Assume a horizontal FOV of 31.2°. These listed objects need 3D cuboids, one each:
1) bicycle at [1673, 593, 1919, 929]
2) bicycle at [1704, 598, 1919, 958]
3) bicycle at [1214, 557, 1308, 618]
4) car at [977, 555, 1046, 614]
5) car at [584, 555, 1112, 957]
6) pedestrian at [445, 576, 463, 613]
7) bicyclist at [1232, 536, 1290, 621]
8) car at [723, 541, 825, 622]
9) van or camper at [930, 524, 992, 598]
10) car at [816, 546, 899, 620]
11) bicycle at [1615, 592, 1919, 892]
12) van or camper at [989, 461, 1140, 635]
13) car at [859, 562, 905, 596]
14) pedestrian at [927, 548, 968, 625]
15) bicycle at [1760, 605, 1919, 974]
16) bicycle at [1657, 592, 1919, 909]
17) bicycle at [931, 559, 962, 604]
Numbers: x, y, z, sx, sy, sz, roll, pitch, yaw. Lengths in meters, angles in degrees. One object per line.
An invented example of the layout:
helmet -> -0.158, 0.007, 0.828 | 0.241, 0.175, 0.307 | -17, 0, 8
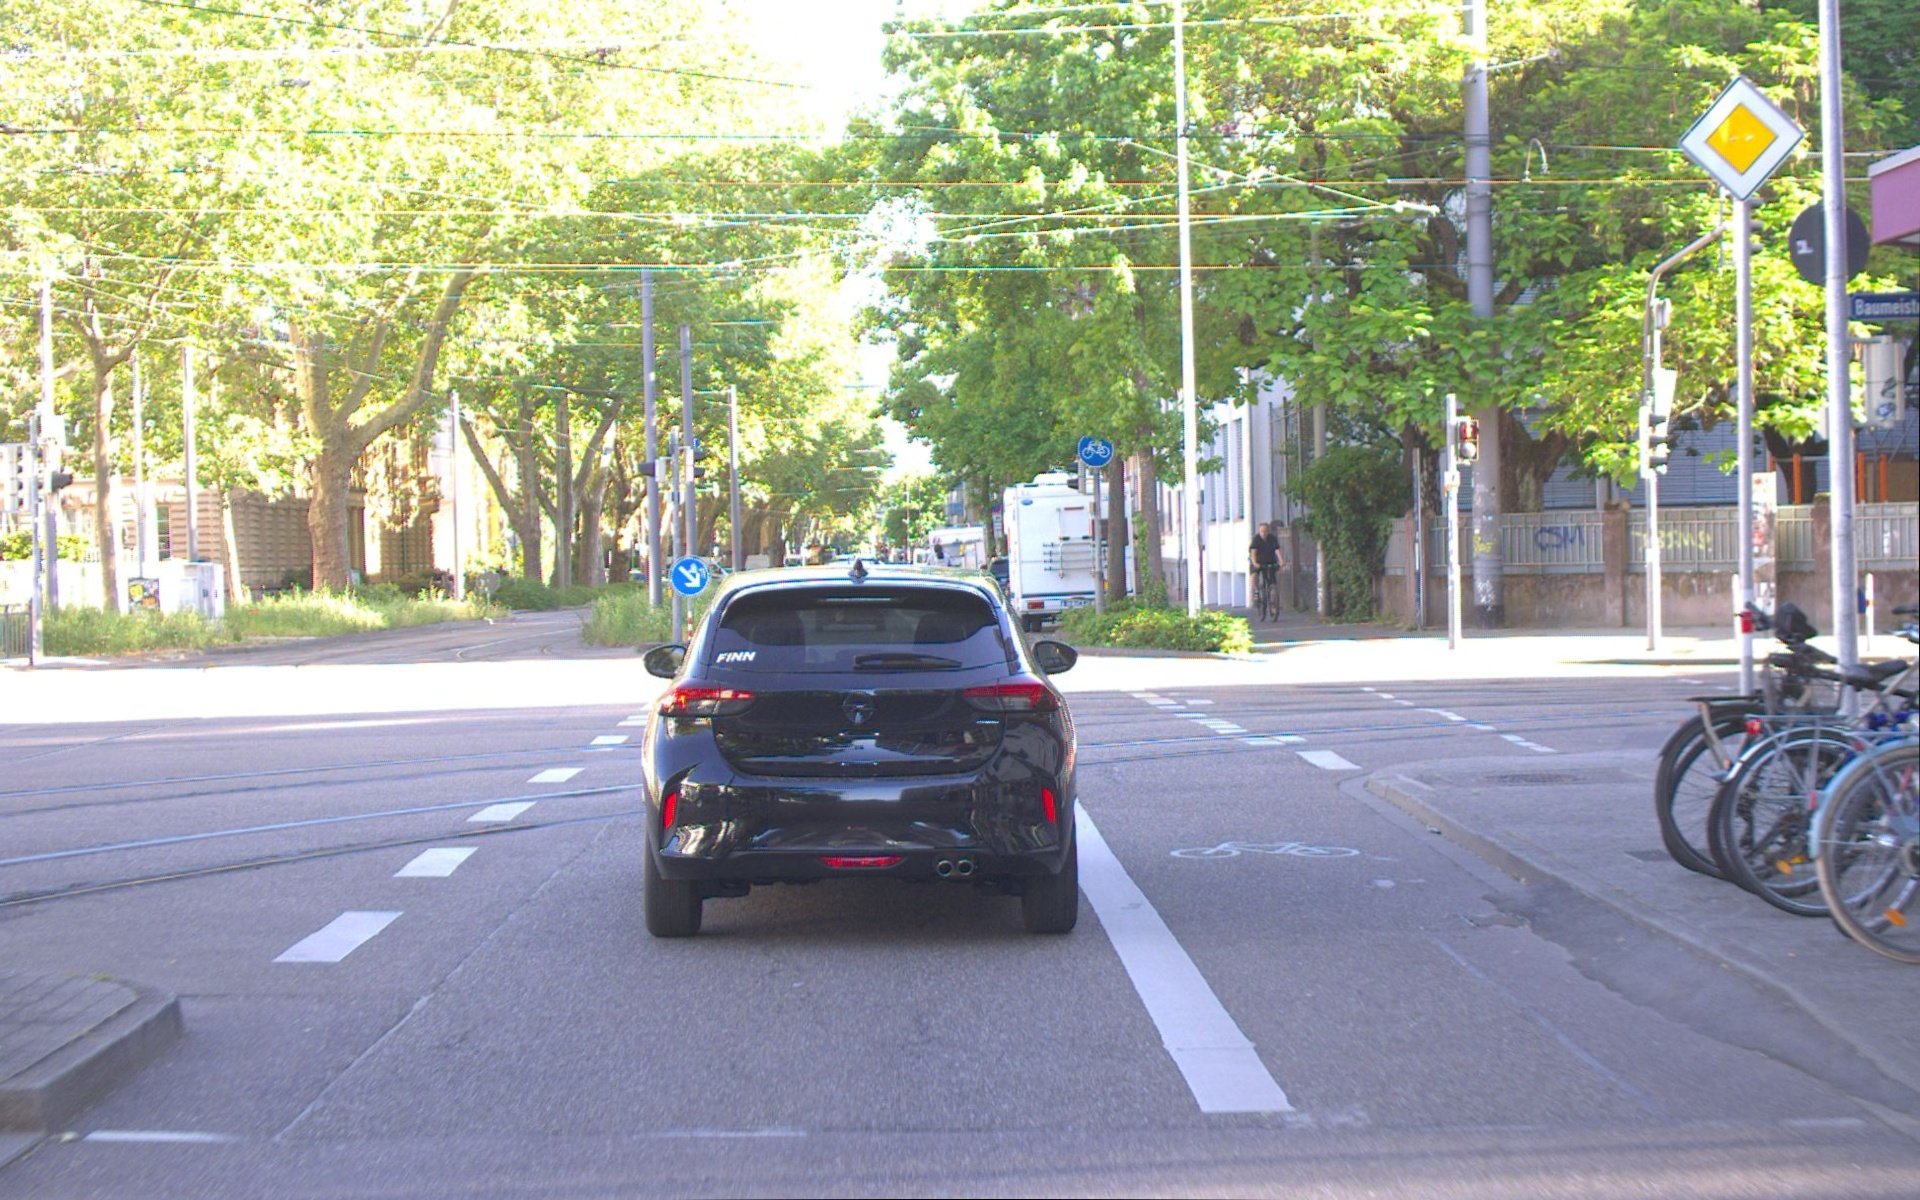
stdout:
bicycle -> 3.644, 0.587, 12.884 | 1.831, 1.216, 0.496 | -1, 1, 3
bicycle -> 3.665, 0.589, 12.005 | 1.976, 1.195, 0.591 | -1, 0, -4
bicycle -> 5.403, -0.218, 61.824 | 0.639, 1.066, 1.951 | -2, 1, -31
car -> 1.414, -0.442, 95.402 | 1.790, 1.505, 3.874 | -3, 1, 0
car -> -0.394, 0.542, 14.651 | 1.905, 1.420, 4.215 | -1, 1, 0
pedestrian -> -22.591, -0.252, 153.492 | 0.658, 1.616, 0.615 | 1, 1, -1
bicyclist -> 5.415, -0.390, 61.796 | 0.749, 1.504, 0.702 | -1, 1, -31
car -> -3.888, -0.407, 72.581 | 1.993, 1.622, 4.471 | 1, 1, -1
van or camper -> 0.070, -1.603, 142.087 | 2.486, 2.983, 5.434 | 1, 1, 0
car -> -2.348, -0.412, 78.372 | 1.832, 1.617, 4.285 | 0, 1, -2
bicycle -> 3.661, 0.572, 14.199 | 1.802, 1.195, 0.545 | -1, -1, 4
van or camper -> 1.999, -1.024, 68.551 | 2.375, 3.114, 7.551 | -4, 1, -2
car -> -3.522, -0.962, 155.772 | 1.905, 1.420, 4.215 | -1, 1, 0
pedestrian -> -0.344, -0.360, 91.710 | 1.036, 2.017, 1.212 | -1, 1, -2
bicycle -> 3.701, 0.593, 11.384 | 1.940, 1.166, 0.572 | -1, 0, -3
bicycle -> 3.593, 0.574, 13.455 | 1.623, 1.195, 0.496 | -1, 0, 4
bicycle -> -0.364, -0.484, 91.348 | 0.713, 1.166, 1.946 | -1, 1, -3
